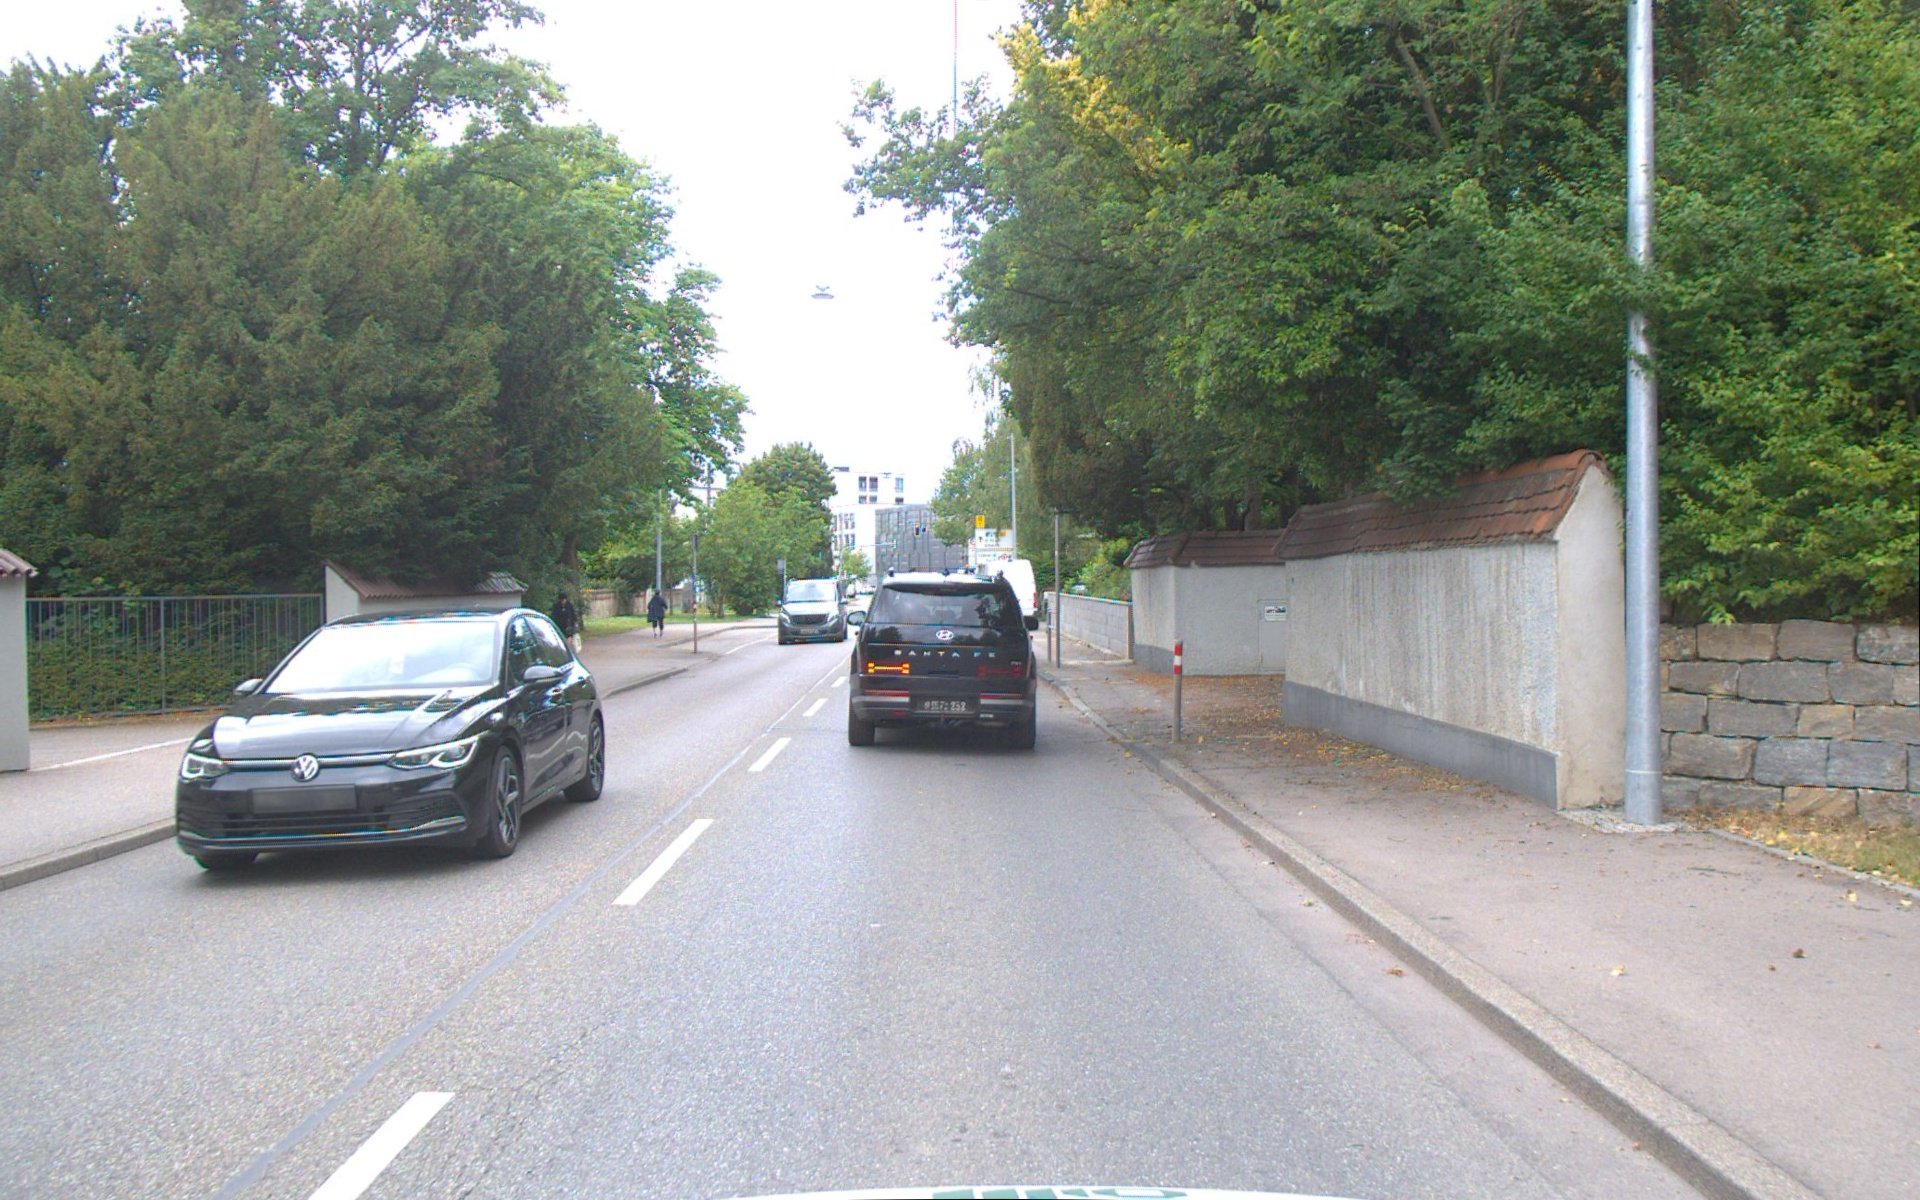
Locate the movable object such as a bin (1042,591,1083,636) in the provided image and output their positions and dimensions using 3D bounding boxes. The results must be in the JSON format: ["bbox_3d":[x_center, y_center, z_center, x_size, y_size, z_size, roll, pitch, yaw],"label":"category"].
[{"bbox_3d":[3.481,0.457,56.198,1.273,1.476,1.180,-1,0,-1],"label":"movable object such as a bin"}]

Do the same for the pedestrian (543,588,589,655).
[{"bbox_3d":[-9.668,0.528,40.634,0.907,1.588,0.901,2,-2,-5],"label":"pedestrian"}]

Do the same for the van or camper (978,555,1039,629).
[{"bbox_3d":[1.853,-0.310,65.036,1.924,2.673,6.356,-2,0,-2],"label":"van or camper"}]

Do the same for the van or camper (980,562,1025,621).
[{"bbox_3d":[2.110,-0.424,83.869,1.924,2.846,5.285,-2,0,-2],"label":"van or camper"}]

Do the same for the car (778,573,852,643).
[{"bbox_3d":[-4.314,0.219,49.780,1.852,1.888,5.081,-3,0,-2],"label":"car"}]

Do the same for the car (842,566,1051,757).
[{"bbox_3d":[-0.150,0.569,17.447,1.924,1.741,3.999,1,0,-1],"label":"car"}]

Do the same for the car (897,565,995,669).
[{"bbox_3d":[-0.329,0.338,34.831,1.924,2.036,3.999,1,0,-2],"label":"car"}]

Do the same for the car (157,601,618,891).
[{"bbox_3d":[-3.399,0.759,10.641,1.750,1.453,3.997,-1,0,-3],"label":"car"}]

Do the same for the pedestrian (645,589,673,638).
[{"bbox_3d":[-10.032,0.454,55.126,0.733,1.605,0.966,1,0,-1],"label":"pedestrian"}]
